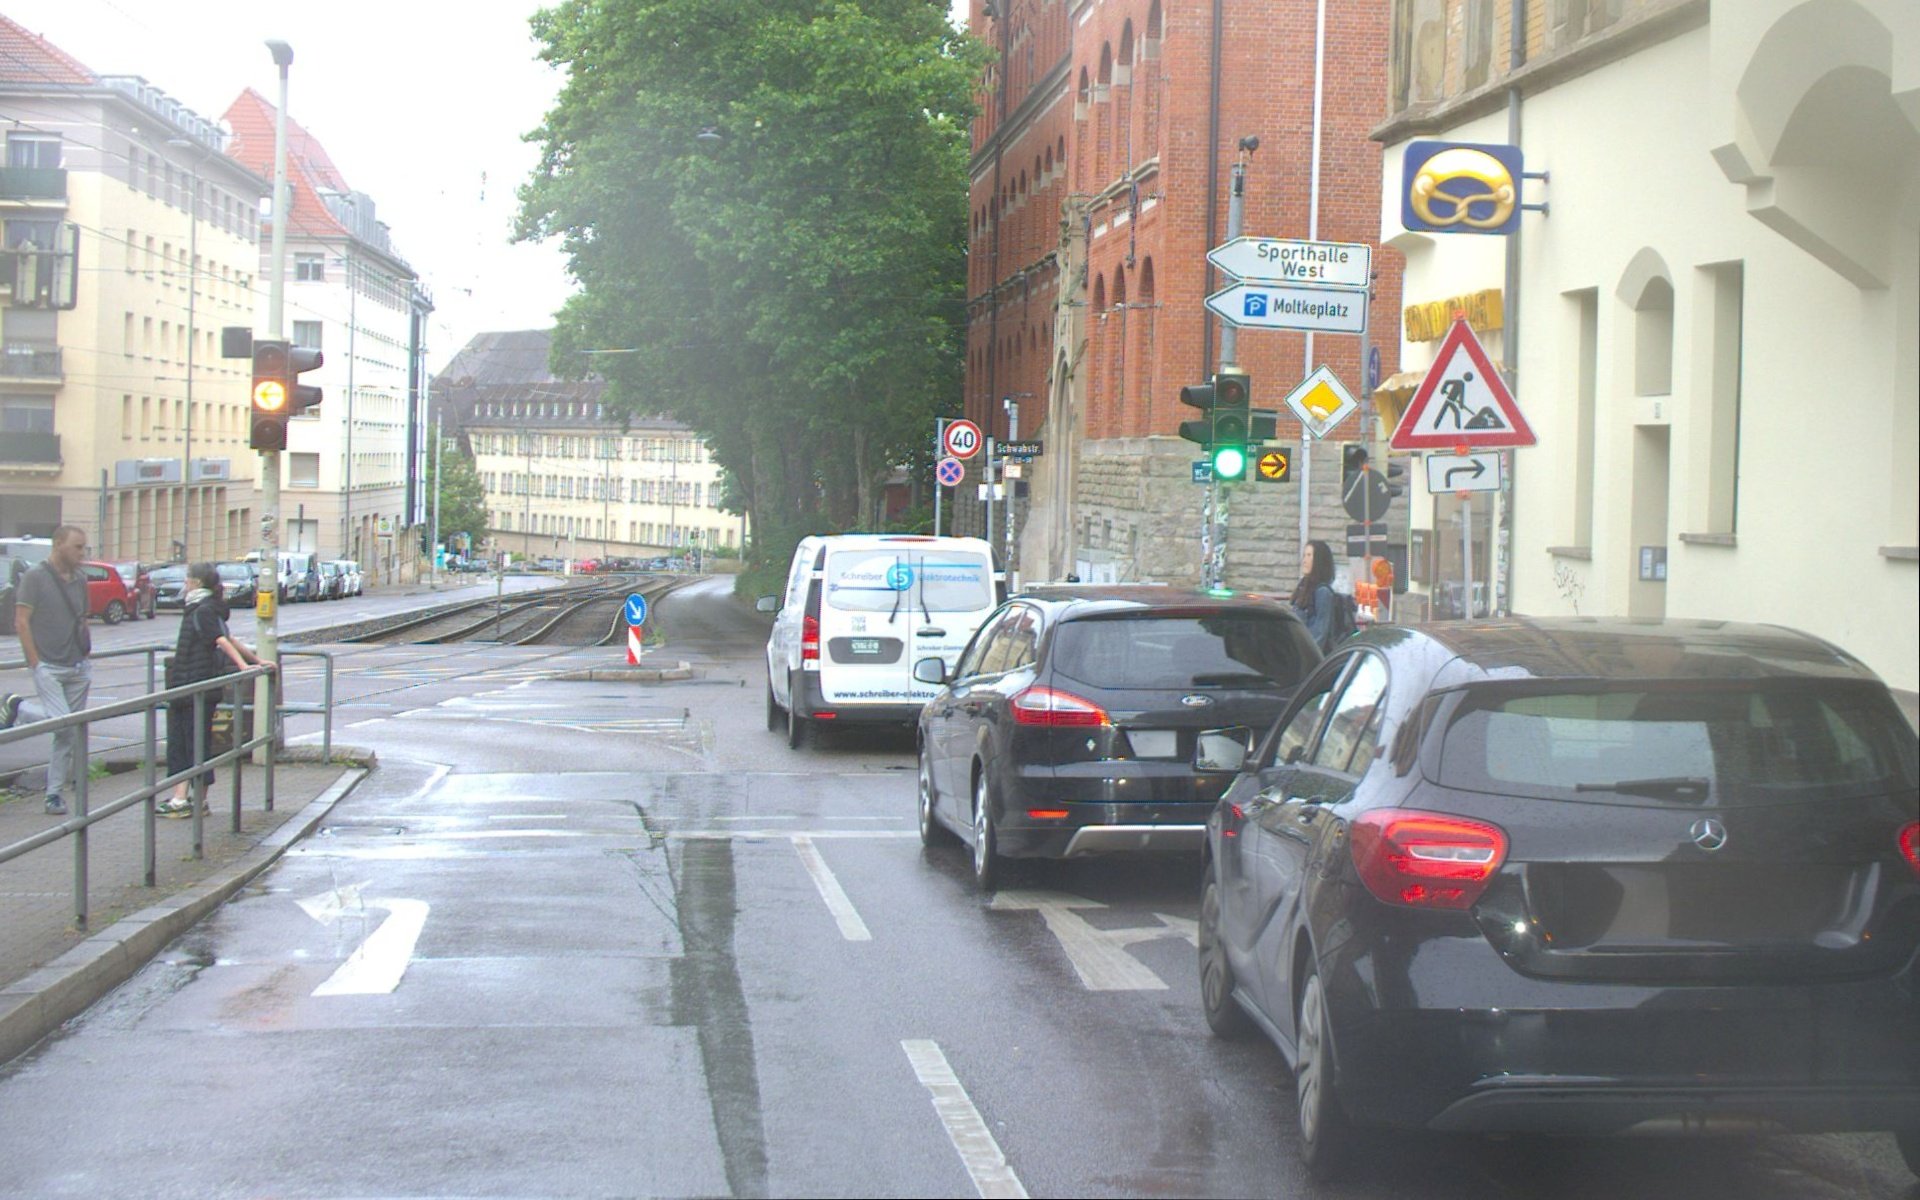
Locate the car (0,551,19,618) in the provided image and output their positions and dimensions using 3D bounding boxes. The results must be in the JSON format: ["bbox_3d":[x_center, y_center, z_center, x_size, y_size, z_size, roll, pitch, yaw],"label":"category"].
[{"bbox_3d":[-19.897,-0.337,68.781,1.451,1.314,3.296,2,1,-5],"label":"car"}]

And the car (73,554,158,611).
[{"bbox_3d":[-21.087,-0.446,85.953,1.499,1.351,3.162,1,0,-4],"label":"car"}]

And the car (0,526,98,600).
[{"bbox_3d":[-20.175,-0.807,75.088,1.786,1.525,4.463,1,0,-4],"label":"car"}]

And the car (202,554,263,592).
[{"bbox_3d":[-22.799,-0.848,107.767,1.395,1.167,3.162,1,0,-4],"label":"car"}]

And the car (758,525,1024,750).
[{"bbox_3d":[-0.698,0.287,30.776,1.932,1.825,4.282,1,1,-7],"label":"car"}]

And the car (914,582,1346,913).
[{"bbox_3d":[0.752,0.665,17.848,1.713,1.464,4.281,1,0,-4],"label":"car"}]

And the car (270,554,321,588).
[{"bbox_3d":[-24.194,-1.051,125.212,1.395,1.167,3.162,1,0,-4],"label":"car"}]

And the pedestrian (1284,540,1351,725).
[{"bbox_3d":[2.489,0.225,23.955,0.412,1.266,0.292,1,0,2],"label":"pedestrian"}]

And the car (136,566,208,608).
[{"bbox_3d":[-21.632,-0.357,94.435,1.437,1.103,3.162,1,0,-4],"label":"car"}]

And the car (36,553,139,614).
[{"bbox_3d":[-20.669,-0.397,81.572,1.680,1.351,3.703,1,0,-4],"label":"car"}]

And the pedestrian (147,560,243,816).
[{"bbox_3d":[-4.640,0.529,20.871,0.531,1.525,0.437,1,0,-12],"label":"pedestrian"}]

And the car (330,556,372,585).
[{"bbox_3d":[-26.038,-1.269,147.078,1.395,1.167,3.162,1,0,-4],"label":"car"}]

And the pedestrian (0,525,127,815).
[{"bbox_3d":[-5.609,0.412,20.901,0.740,1.718,0.739,2,0,43],"label":"pedestrian"}]

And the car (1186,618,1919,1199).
[{"bbox_3d":[1.726,0.788,9.908,1.895,1.385,4.000,1,0,1],"label":"car"}]
